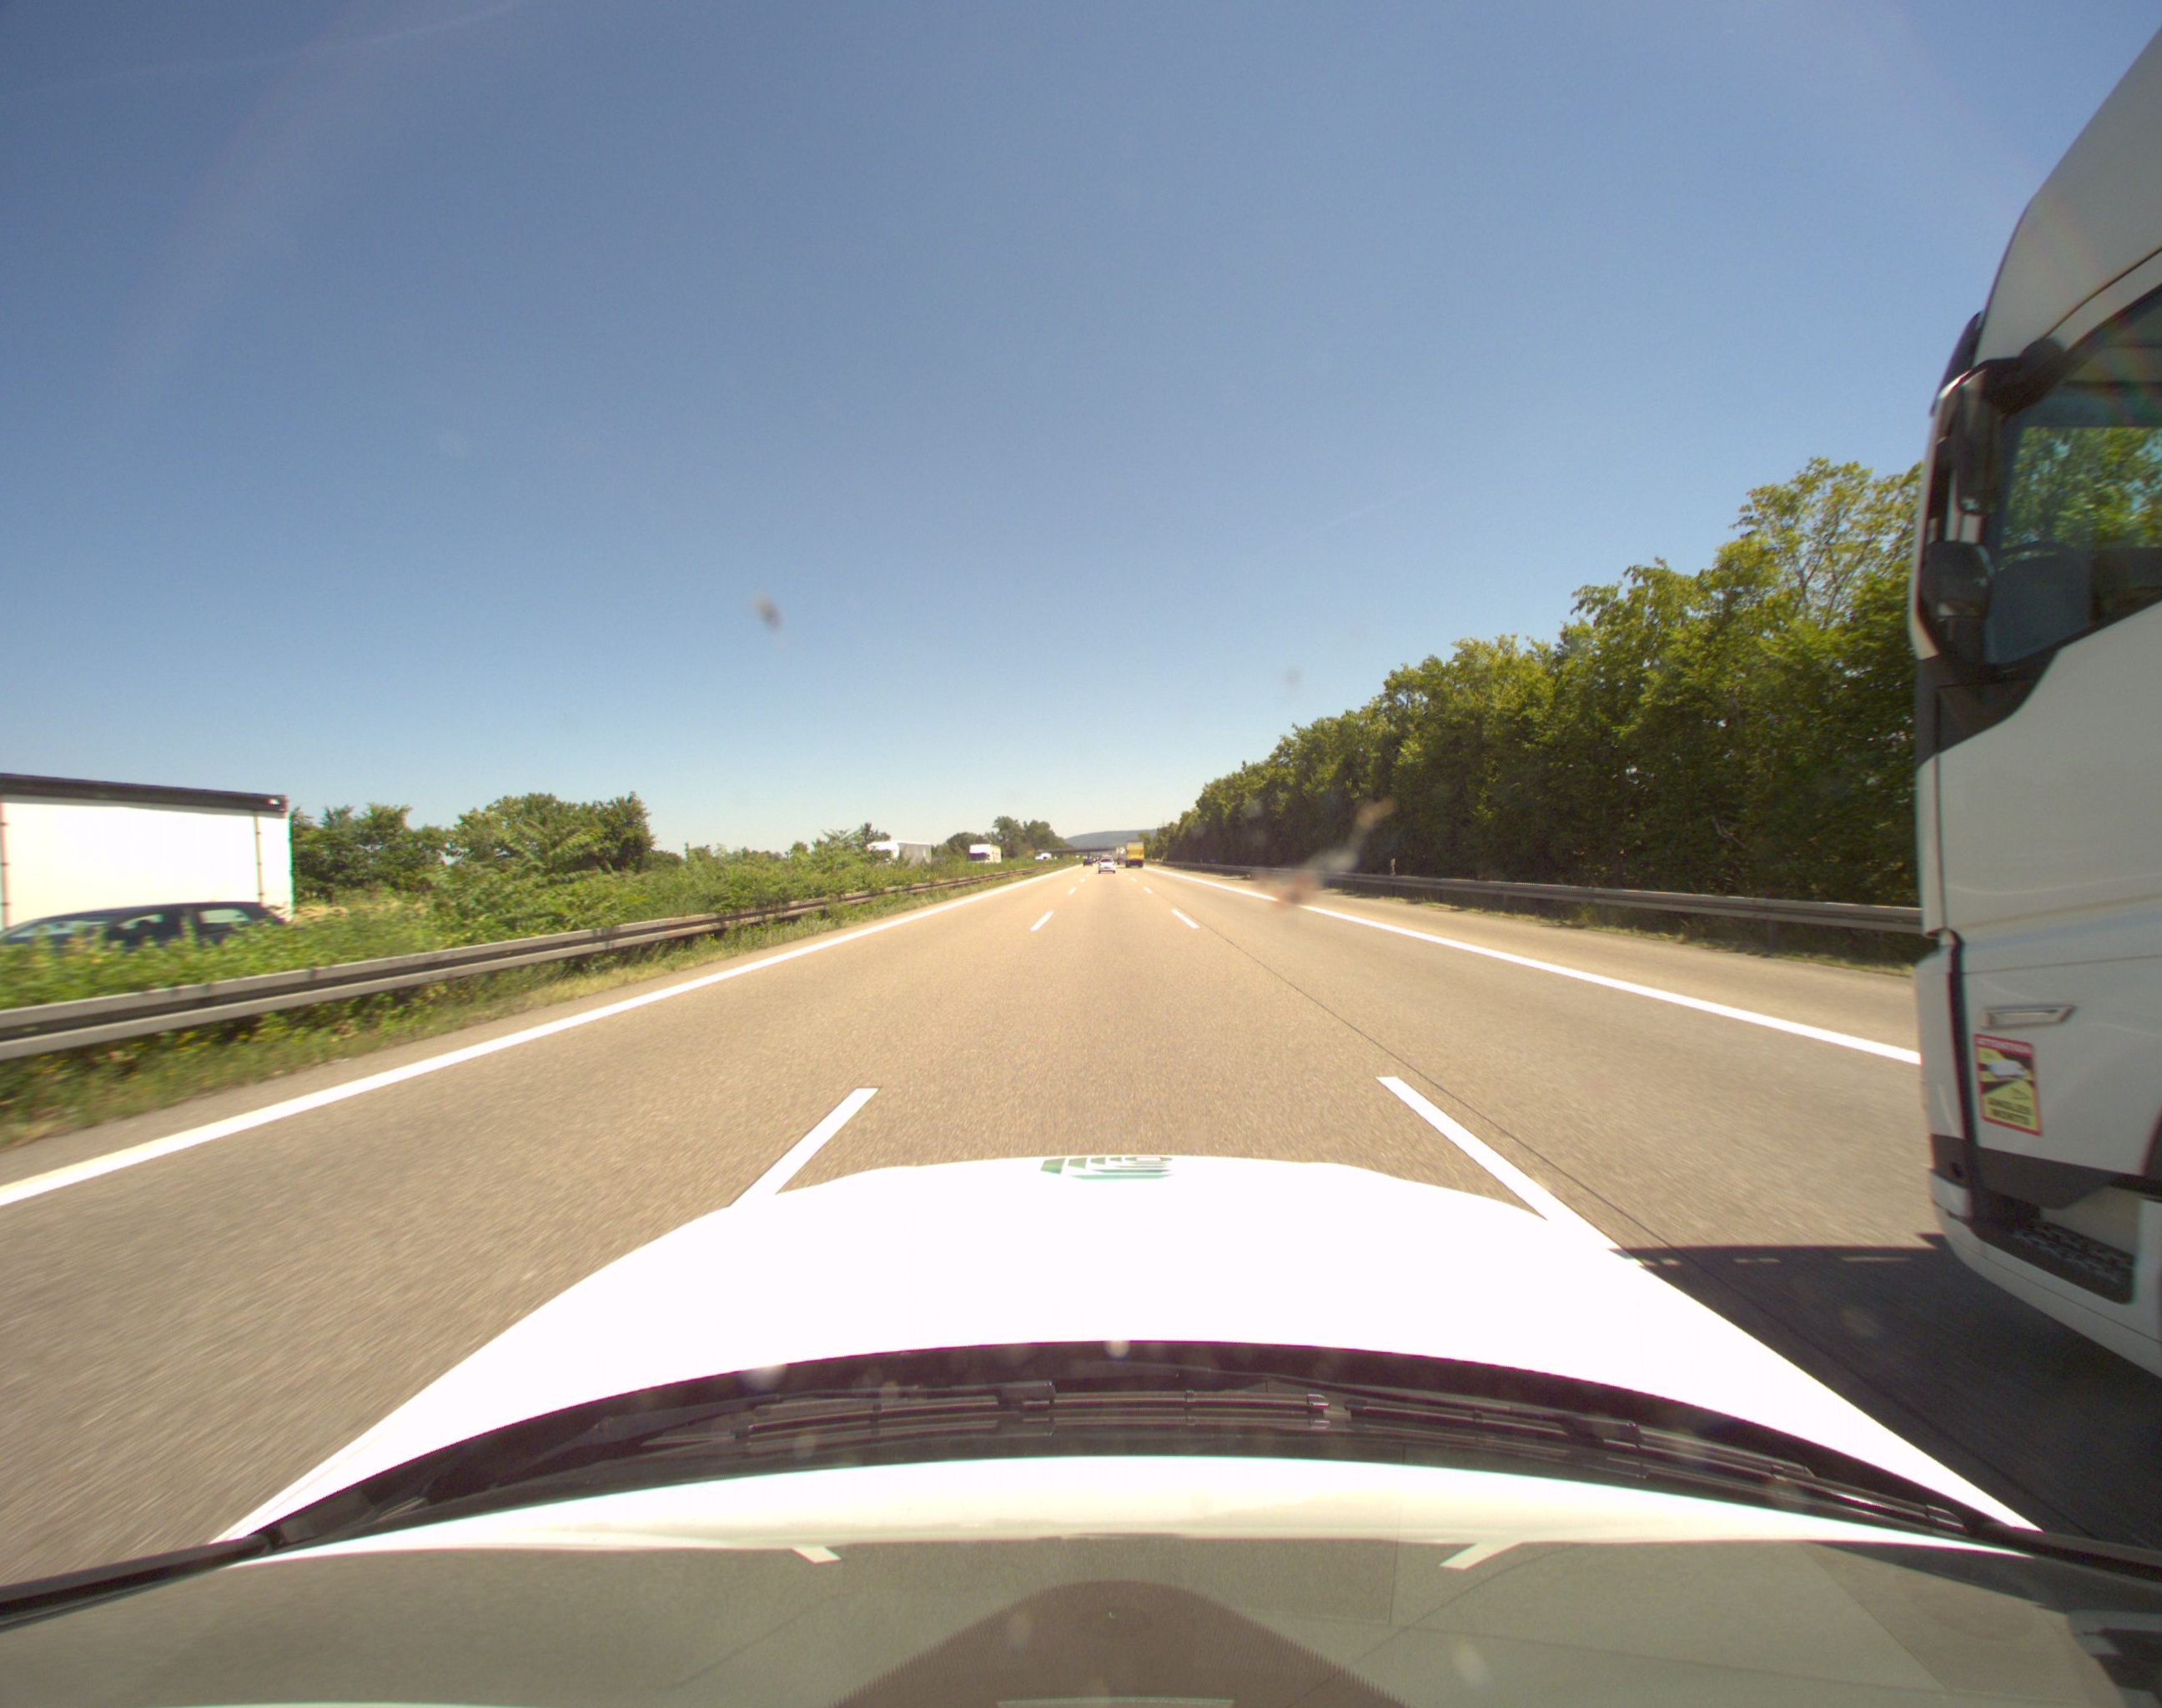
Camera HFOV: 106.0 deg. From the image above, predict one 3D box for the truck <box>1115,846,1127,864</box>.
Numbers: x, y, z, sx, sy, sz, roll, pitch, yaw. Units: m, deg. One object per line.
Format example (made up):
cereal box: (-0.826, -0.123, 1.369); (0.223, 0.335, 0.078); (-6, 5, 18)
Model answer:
truck: (9.257, 0.262, 188.142); (2.564, 4.072, 6.393); (0, -1, 1)

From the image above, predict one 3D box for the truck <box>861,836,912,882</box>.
truck: (-17.908, 0.430, 75.236); (2.940, 4.063, 6.541); (0, -1, 2)

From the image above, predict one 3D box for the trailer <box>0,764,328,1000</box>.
trailer: (-20.138, 0.475, 12.900); (3.047, 4.058, 13.961); (0, 0, 2)

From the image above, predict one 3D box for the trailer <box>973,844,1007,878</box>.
trailer: (-12.668, 0.942, 115.243); (2.810, 4.526, 13.871); (0, 0, 2)

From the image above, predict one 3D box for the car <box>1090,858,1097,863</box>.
car: (3.533, 1.895, 231.059); (1.828, 1.386, 4.001); (0, 0, 2)

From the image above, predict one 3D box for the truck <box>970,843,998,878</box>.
truck: (-12.877, 0.892, 108.834); (2.810, 4.526, 6.541); (0, -1, 2)

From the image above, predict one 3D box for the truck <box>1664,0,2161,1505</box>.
truck: (3.648, -0.559, 0.296); (2.461, 4.062, 6.322); (0, -1, 2)

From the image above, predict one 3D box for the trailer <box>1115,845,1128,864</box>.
trailer: (9.131, 0.212, 182.796); (2.571, 4.074, 11.105); (0, 0, 1)

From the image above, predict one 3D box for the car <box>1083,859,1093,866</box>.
car: (1.369, 1.574, 155.966); (1.828, 1.386, 4.001); (0, 0, 2)

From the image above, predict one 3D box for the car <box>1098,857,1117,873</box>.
car: (2.609, 1.084, 80.943); (1.800, 1.468, 4.001); (0, 0, 2)

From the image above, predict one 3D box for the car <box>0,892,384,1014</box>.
car: (-12.975, 1.357, 12.275); (1.673, 1.421, 3.689); (0, -1, 2)

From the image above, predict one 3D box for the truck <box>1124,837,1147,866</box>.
truck: (8.111, -0.330, 122.326); (2.923, 4.200, 10.684); (0, -1, 1)

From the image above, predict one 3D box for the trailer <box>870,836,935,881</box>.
trailer: (-17.687, 0.471, 81.920); (2.943, 4.058, 14.330); (0, 0, 2)
